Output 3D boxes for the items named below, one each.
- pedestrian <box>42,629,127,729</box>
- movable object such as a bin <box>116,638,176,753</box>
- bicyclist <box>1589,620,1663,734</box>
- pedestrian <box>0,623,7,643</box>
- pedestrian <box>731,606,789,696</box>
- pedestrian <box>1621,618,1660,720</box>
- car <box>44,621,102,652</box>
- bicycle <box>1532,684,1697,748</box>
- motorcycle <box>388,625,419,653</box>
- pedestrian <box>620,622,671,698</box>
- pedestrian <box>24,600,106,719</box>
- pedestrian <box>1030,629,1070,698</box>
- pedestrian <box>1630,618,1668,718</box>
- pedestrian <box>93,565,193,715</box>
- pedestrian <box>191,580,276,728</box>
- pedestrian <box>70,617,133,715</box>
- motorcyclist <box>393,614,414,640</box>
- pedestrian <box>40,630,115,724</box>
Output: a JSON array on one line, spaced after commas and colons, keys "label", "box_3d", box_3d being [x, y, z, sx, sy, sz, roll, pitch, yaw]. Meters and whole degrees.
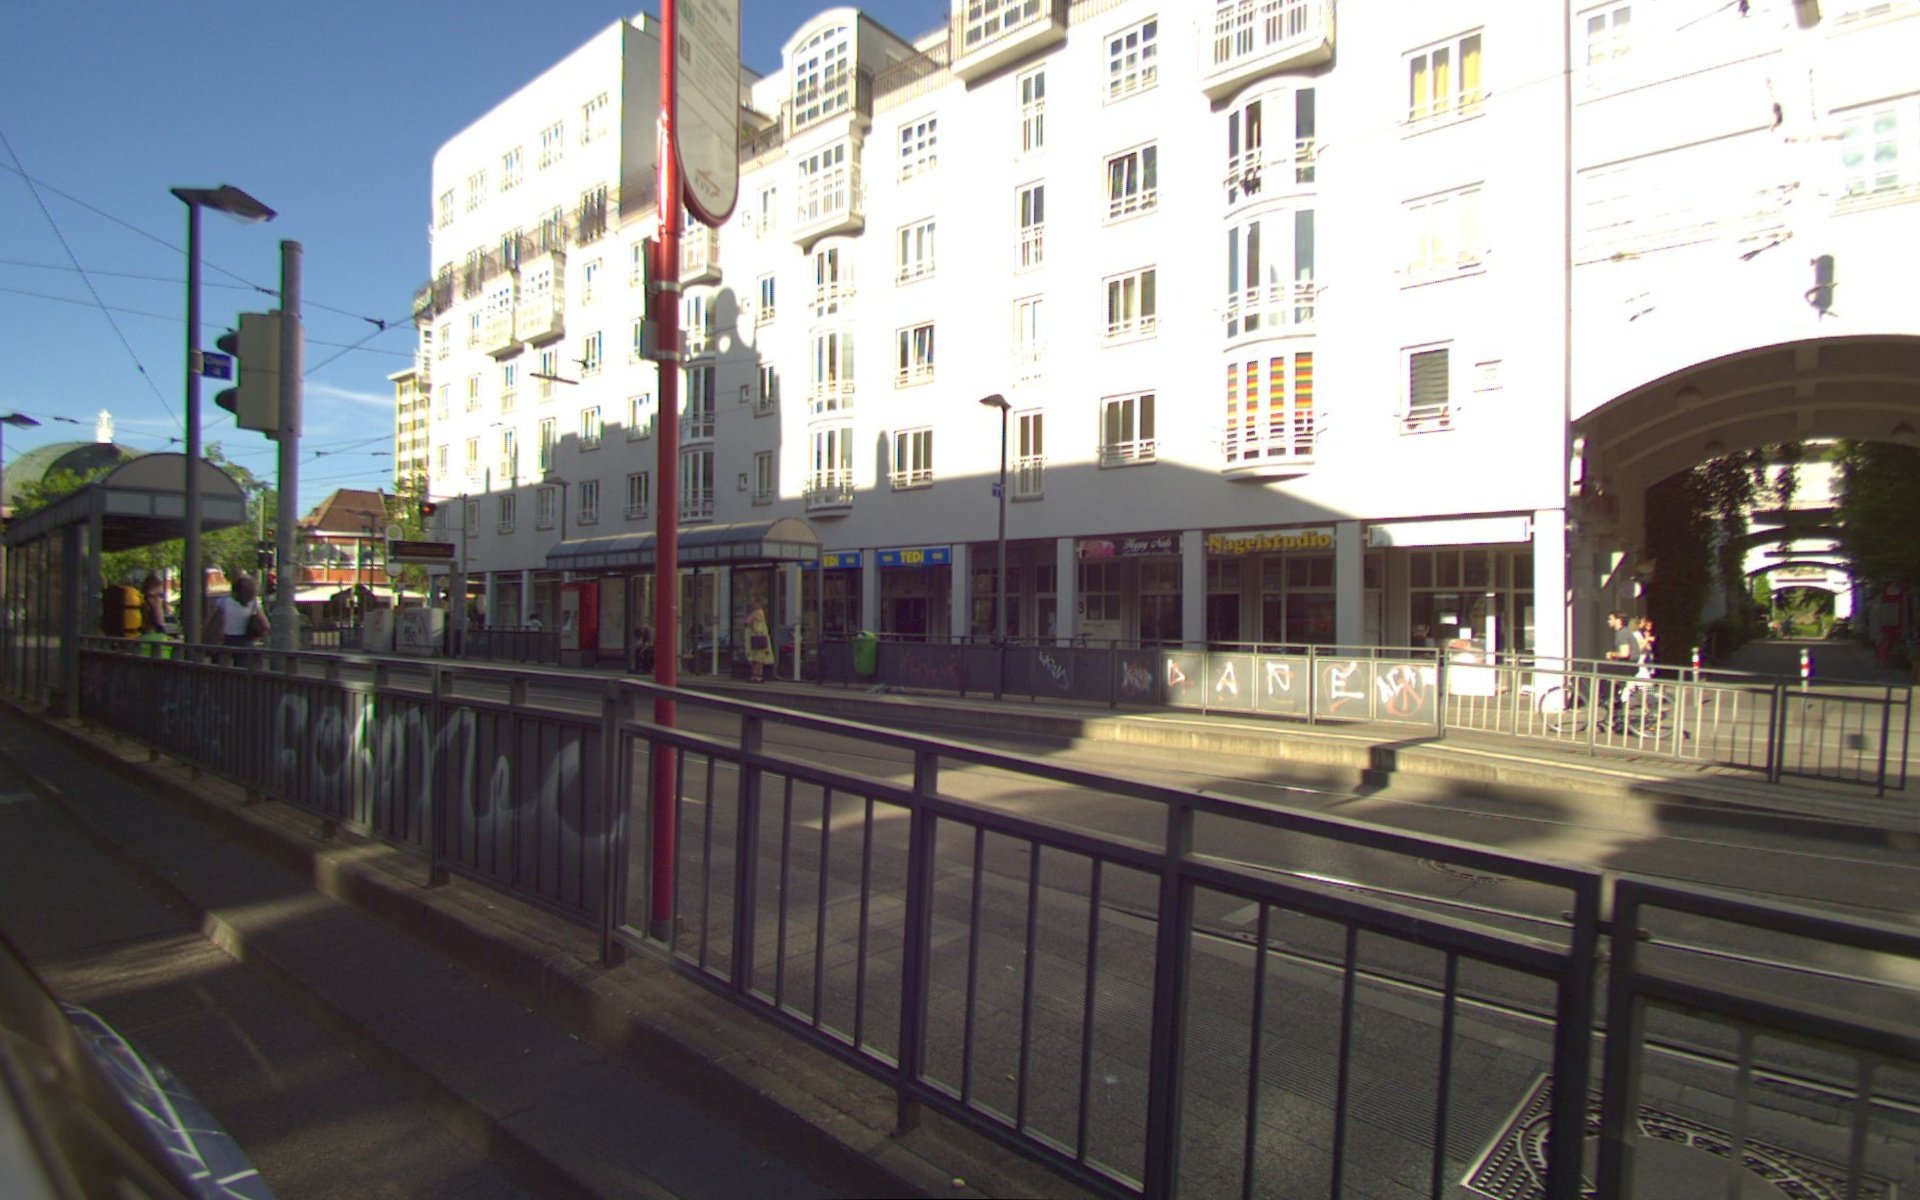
[{"label": "pedestrian", "box_3d": [-11.812, 1.044, 13.655, 0.719, 1.282, 0.756, -1, -3, 43]}, {"label": "movable object such as a bin", "box_3d": [-7.454, 0.857, 9.268, 0.404, 1.015, 0.343, -1, -3, 42]}, {"label": "bicyclist", "box_3d": [9.484, 1.072, 14.406, 0.777, 1.569, 0.665, -1, -2, 42]}, {"label": "pedestrian", "box_3d": [-74.328, 2.519, 78.453, 0.858, 1.529, 0.494, -1, -5, 41]}, {"label": "pedestrian", "box_3d": [-3.588, 0.913, 18.188, 0.742, 1.571, 0.724, -2, -3, 39]}, {"label": "pedestrian", "box_3d": [11.487, 1.145, 17.079, 0.491, 1.676, 0.357, 0, 0, 42]}, {"label": "car", "box_3d": [-59.133, 2.416, 67.462, 4.605, 1.925, 2.204, 0, -2, 40]}, {"label": "bicycle", "box_3d": [9.400, 1.643, 14.592, 1.937, 0.763, 0.560, -1, -2, 42]}, {"label": "motorcycle", "box_3d": [-23.533, 1.643, 42.798, 1.844, 1.082, 0.553, 1, 0, 42]}, {"label": "pedestrian", "box_3d": [-6.521, 1.235, 20.997, 0.742, 1.539, 0.724, -2, -3, 39]}, {"label": "pedestrian", "box_3d": [-13.877, 0.918, 15.713, 0.707, 1.791, 0.566, 1, -2, -14]}, {"label": "pedestrian", "box_3d": [2.185, 1.518, 24.541, 0.596, 1.634, 0.834, -1, -3, 36]}, {"label": "pedestrian", "box_3d": [11.847, 1.146, 17.398, 0.491, 1.676, 0.357, 0, 0, 42]}, {"label": "pedestrian", "box_3d": [-9.888, 0.473, 12.257, 0.712, 1.764, 0.563, 0, -2, 12]}, {"label": "pedestrian", "box_3d": [-8.029, 0.581, 11.185, 0.568, 1.570, 0.614, -1, -2, 41]}, {"label": "pedestrian", "box_3d": [-14.042, 1.077, 16.566, 0.577, 1.574, 0.471, 1, -2, -14]}, {"label": "motorcyclist", "box_3d": [-23.504, 1.127, 42.749, 0.827, 1.082, 0.553, 0, 0, 42]}, {"label": "pedestrian", "box_3d": [-12.505, 1.075, 14.344, 0.657, 1.282, 0.703, -1, -3, 43]}]
